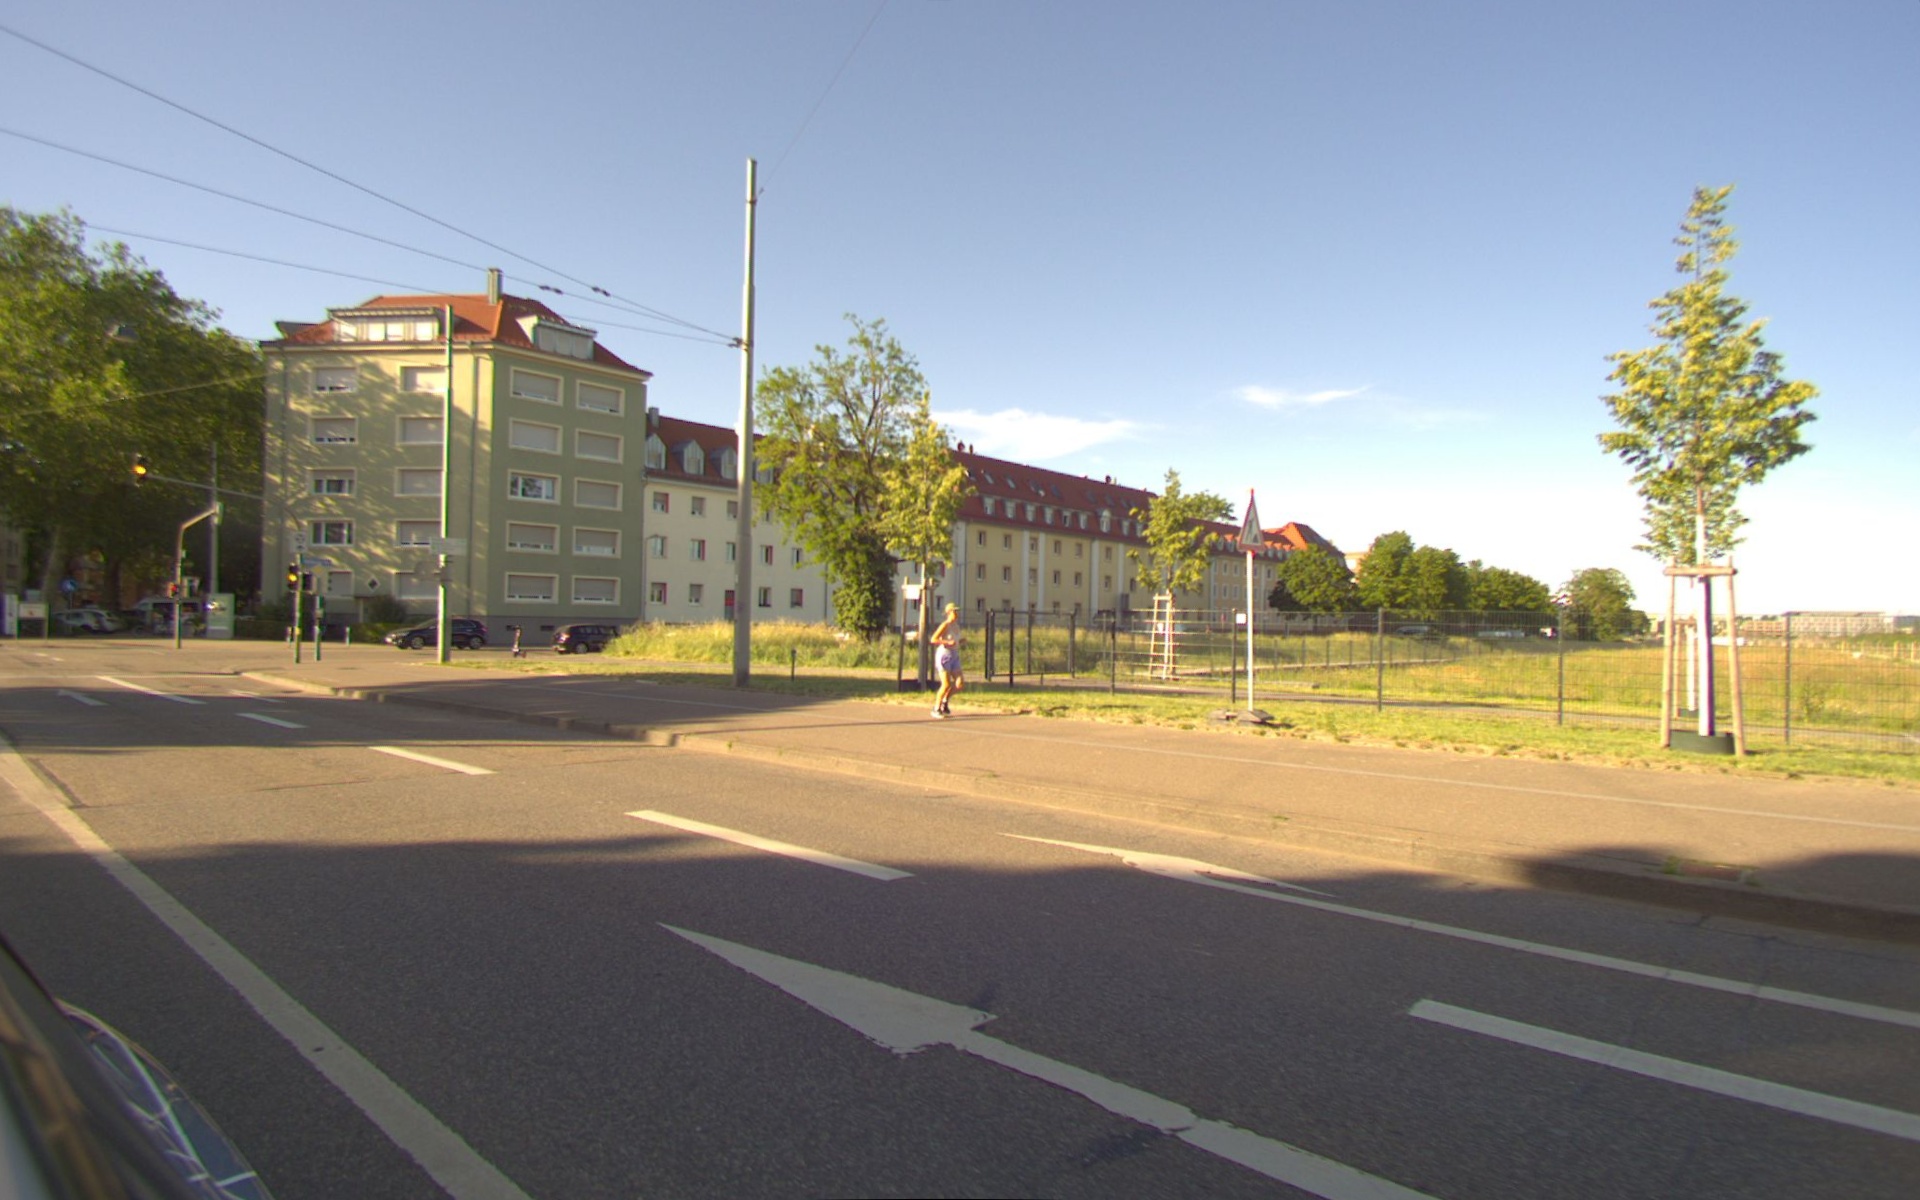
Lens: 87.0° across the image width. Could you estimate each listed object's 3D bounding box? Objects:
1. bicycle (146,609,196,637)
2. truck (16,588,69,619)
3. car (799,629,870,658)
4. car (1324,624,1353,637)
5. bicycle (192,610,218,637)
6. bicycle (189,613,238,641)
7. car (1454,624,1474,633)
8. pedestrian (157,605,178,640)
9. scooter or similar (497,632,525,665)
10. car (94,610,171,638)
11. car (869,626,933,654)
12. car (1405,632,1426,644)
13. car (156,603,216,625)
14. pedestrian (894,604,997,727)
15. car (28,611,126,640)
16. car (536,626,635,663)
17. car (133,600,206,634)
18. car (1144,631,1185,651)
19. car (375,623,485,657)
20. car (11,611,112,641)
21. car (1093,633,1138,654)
[{"bbox_3d":[-44.342,1.295,56.890,2.017,1.473,0.728,3,0,-20],"label":"bicycle"},{"bbox_3d":[-92.398,0.329,102.048,2.304,2.995,8.057,0,0,-30],"label":"truck"},{"bbox_3d":[-7.013,2.445,56.663,1.698,1.542,3.851,-6,-6,38],"label":"car"},{"bbox_3d":[46.954,3.818,125.534,1.942,1.505,4.148,-3,-4,42],"label":"car"},{"bbox_3d":[-41.900,1.276,56.165,2.053,1.390,0.764,2,0,42],"label":"bicycle"},{"bbox_3d":[-39.188,1.406,53.162,2.027,1.390,0.774,3,0,5],"label":"bicycle"},{"bbox_3d":[84.032,4.787,168.652,1.942,1.505,4.148,-3,-4,42],"label":"car"},{"bbox_3d":[-45.458,1.270,58.049,0.685,1.978,0.930,0,0,-19],"label":"pedestrian"},{"bbox_3d":[-16.730,1.819,37.761,0.586,1.153,1.269,1,-6,-8],"label":"scooter or similar"},{"bbox_3d":[-58.308,1.679,71.372,3.932,1.851,1.822,0,0,-27],"label":"car"},{"bbox_3d":[-3.520,2.418,60.833,1.698,1.542,3.851,-6,-6,38],"label":"car"},{"bbox_3d":[62.674,5.298,139.336,1.698,1.542,3.851,-6,-6,38],"label":"car"},{"bbox_3d":[-67.934,1.209,88.916,3.932,1.851,1.822,0,0,-27],"label":"car"},{"bbox_3d":[-0.210,0.909,14.339,1.181,1.642,0.823,-4,-2,44],"label":"pedestrian"},{"bbox_3d":[-52.866,1.488,60.680,4.078,1.652,1.780,0,0,-27],"label":"car"},{"bbox_3d":[-16.716,2.011,45.277,1.698,1.542,3.851,-6,-6,38],"label":"car"},{"bbox_3d":[-63.118,1.335,80.879,4.345,2.646,1.976,0,0,-27],"label":"car"},{"bbox_3d":[16.989,3.375,83.918,1.698,1.542,3.851,-6,-6,38],"label":"car"},{"bbox_3d":[-24.694,1.878,47.270,1.942,1.505,4.148,-3,-4,42],"label":"car"},{"bbox_3d":[-52.057,1.493,58.730,4.078,1.652,1.780,0,0,-27],"label":"car"},{"bbox_3d":[12.079,3.382,78.357,1.698,1.542,3.851,-6,-6,38],"label":"car"}]
